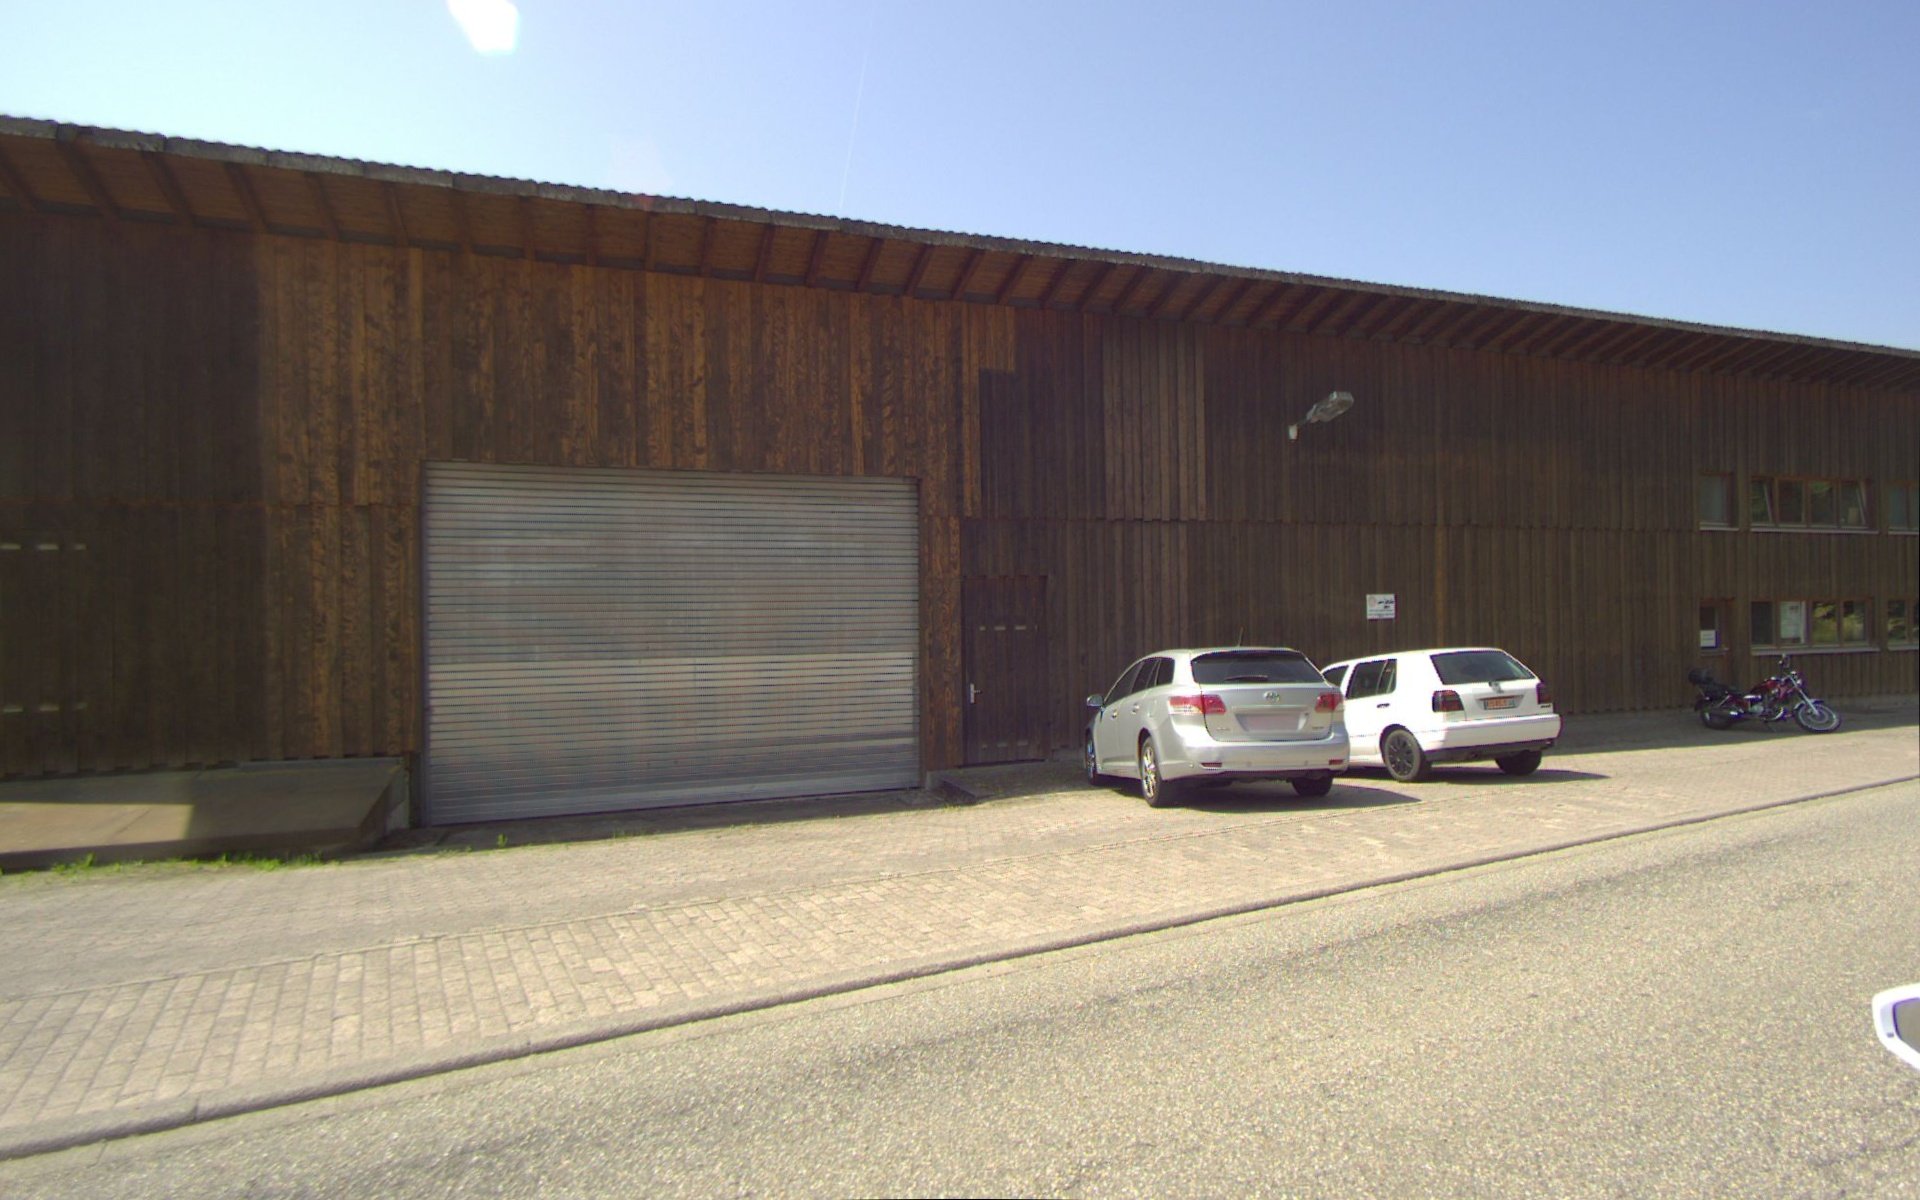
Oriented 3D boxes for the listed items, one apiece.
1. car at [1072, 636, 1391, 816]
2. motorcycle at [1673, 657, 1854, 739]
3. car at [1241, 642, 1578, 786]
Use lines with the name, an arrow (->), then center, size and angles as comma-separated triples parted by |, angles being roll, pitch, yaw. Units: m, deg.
car -> 2.587, 1.274, 10.864 | 1.888, 1.493, 4.444 | -1, -5, -5
motorcycle -> 13.897, 1.653, 17.489 | 0.732, 1.281, 2.406 | 1, -2, -20
car -> 5.076, 1.316, 11.938 | 1.682, 1.403, 3.662 | 0, -6, -15
